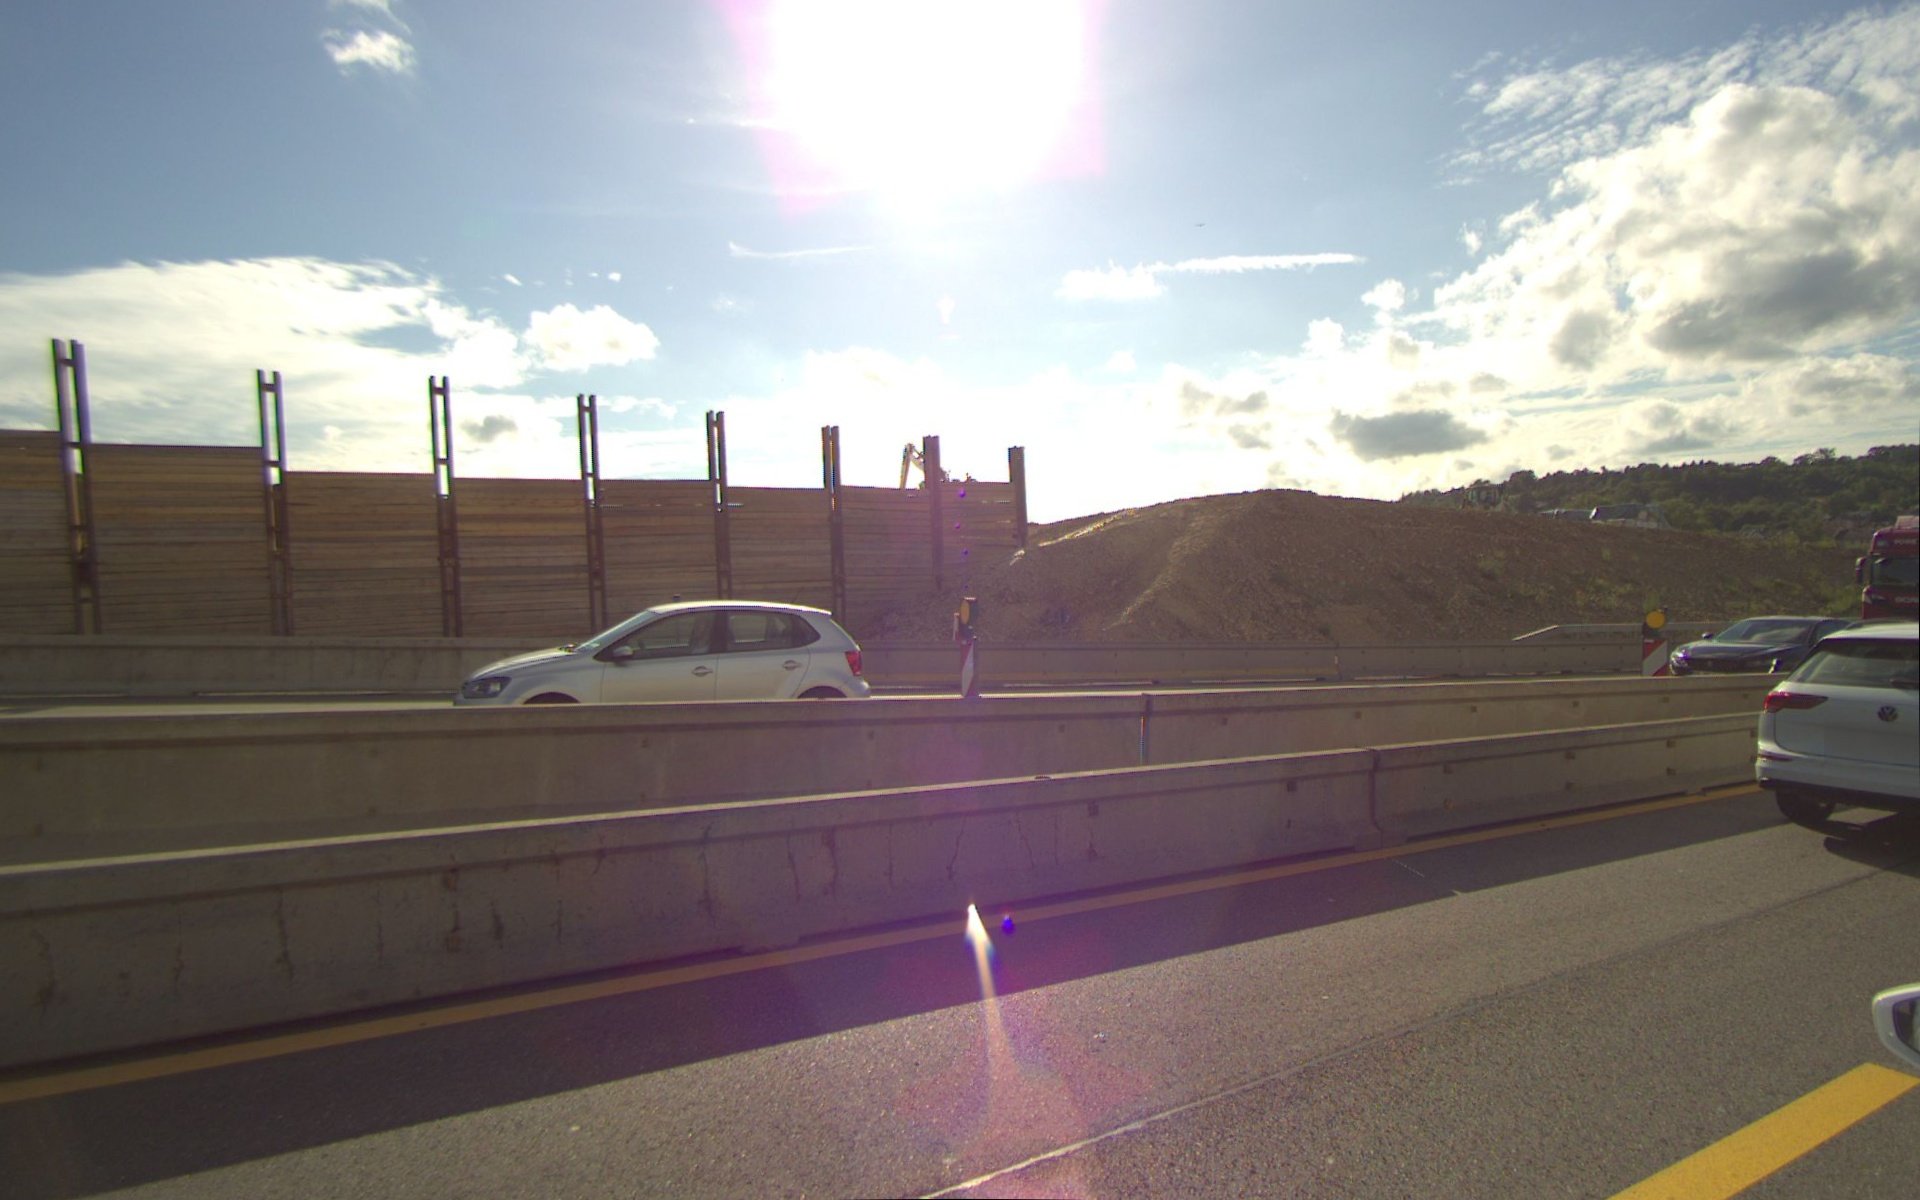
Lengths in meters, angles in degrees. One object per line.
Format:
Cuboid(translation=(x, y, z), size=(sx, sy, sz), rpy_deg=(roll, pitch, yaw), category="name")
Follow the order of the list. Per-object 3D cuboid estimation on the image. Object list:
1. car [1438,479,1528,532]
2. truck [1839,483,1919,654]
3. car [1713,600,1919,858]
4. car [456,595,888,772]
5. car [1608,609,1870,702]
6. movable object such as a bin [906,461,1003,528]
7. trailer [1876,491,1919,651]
Cuboid(translation=(29.310, -5.242, 56.243), size=(5.261, 2.167, 1.985), rpy_deg=(3, -5, -31), category="car")
Cuboid(translation=(27.504, -0.750, 27.807), size=(6.214, 4.446, 2.899), rpy_deg=(1, 1, -31), category="truck")
Cuboid(translation=(7.497, 0.787, 7.194), size=(4.463, 1.511, 1.762), rpy_deg=(1, 0, -30), category="car")
Cuboid(translation=(-2.763, 0.722, 9.854), size=(3.750, 1.459, 1.750), rpy_deg=(1, 0, -23), category="car")
Cuboid(translation=(13.993, 0.949, 18.022), size=(4.551, 1.459, 1.816), rpy_deg=(1, 0, -25), category="car")
Cuboid(translation=(-0.449, -6.499, 62.870), size=(4.440, 3.314, 5.742), rpy_deg=(3, 0, -18), category="movable object such as a bin")
Cuboid(translation=(33.105, -0.640, 31.071), size=(13.653, 4.482, 2.962), rpy_deg=(2, 1, -30), category="trailer")
